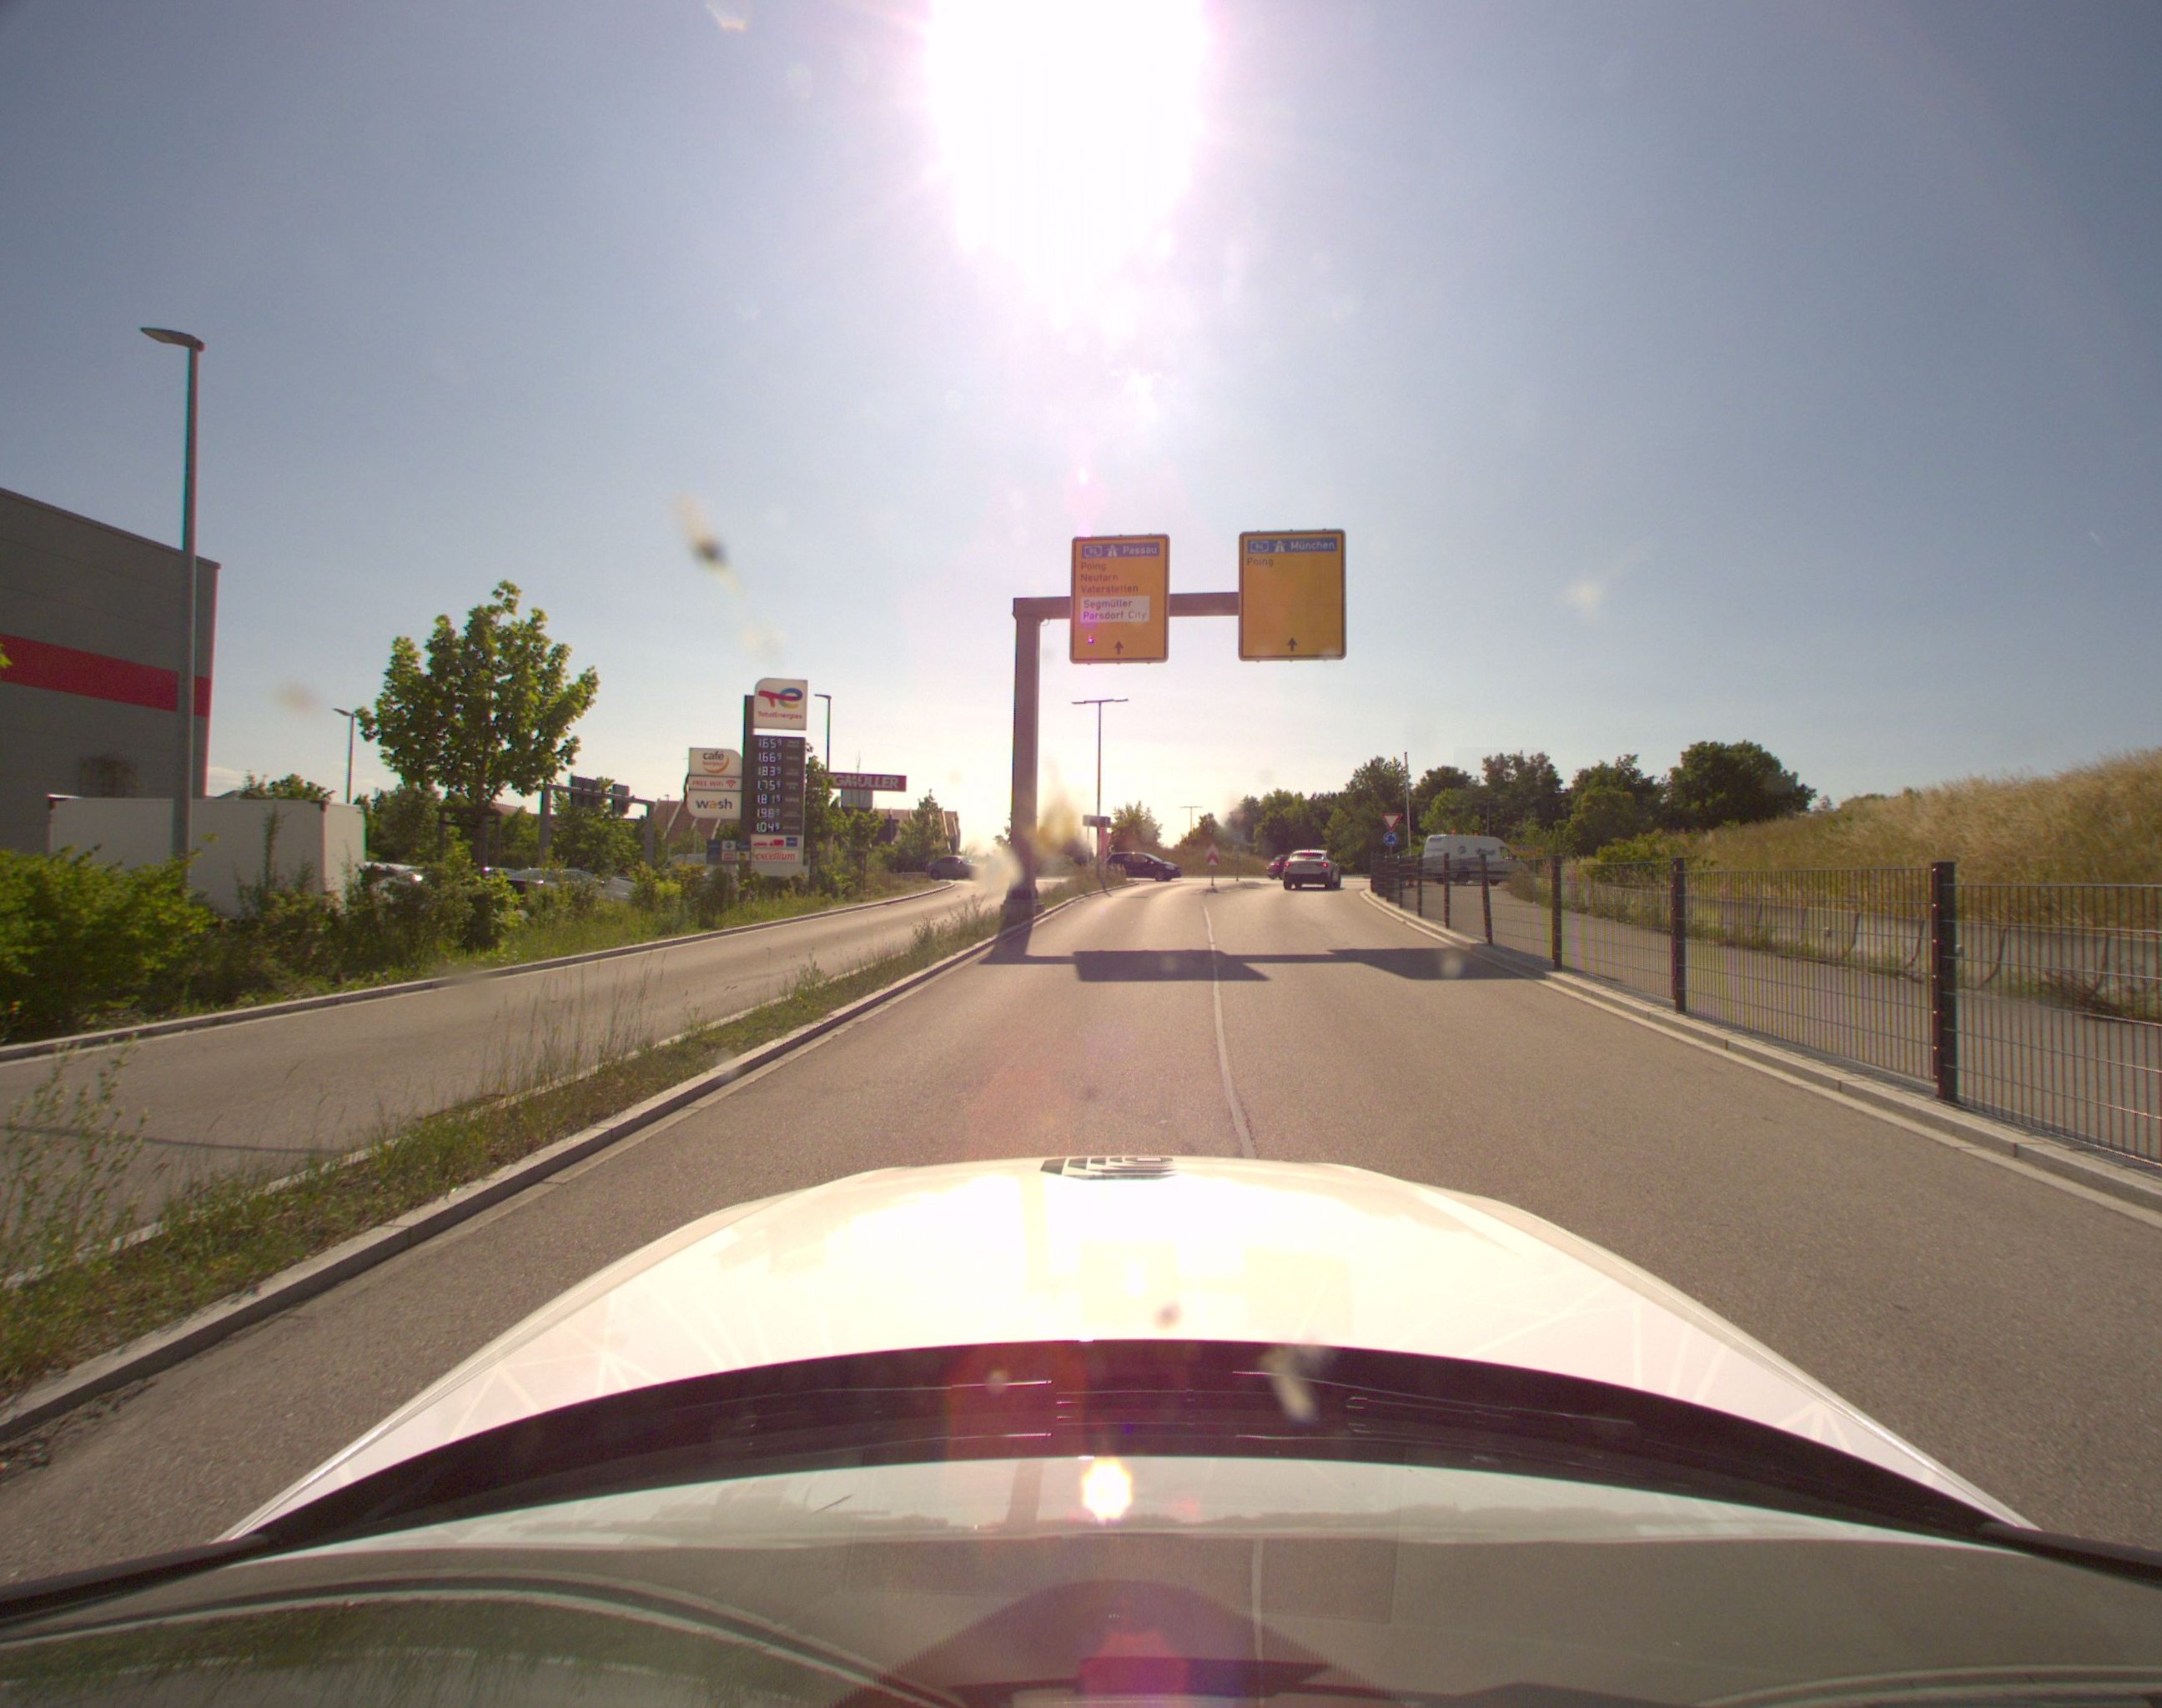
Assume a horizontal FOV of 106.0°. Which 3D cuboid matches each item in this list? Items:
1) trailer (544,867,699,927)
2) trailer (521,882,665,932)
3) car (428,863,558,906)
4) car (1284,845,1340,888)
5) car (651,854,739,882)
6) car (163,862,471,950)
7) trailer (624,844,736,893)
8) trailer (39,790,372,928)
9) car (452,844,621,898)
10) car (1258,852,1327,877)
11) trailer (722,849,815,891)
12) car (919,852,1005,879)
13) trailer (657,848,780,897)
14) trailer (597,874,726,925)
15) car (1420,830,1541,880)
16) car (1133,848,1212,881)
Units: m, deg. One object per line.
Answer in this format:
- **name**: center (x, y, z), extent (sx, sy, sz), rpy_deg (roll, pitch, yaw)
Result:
- **trailer**: center (-11.887, 1.103, 21.259), extent (3.185, 1.483, 1.541), rpy_deg (1, -1, -14)
- **trailer**: center (-11.633, 1.240, 19.579), extent (2.779, 1.086, 1.310), rpy_deg (1, -1, -24)
- **car**: center (-21.743, 1.080, 30.342), extent (1.812, 1.464, 4.002), rpy_deg (-1, -1, 3)
- **car**: center (9.358, 0.488, 32.795), extent (1.825, 1.596, 4.347), rpy_deg (0, -1, 21)
- **car**: center (-32.275, 1.179, 68.170), extent (6.240, 2.234, 2.037), rpy_deg (1, -1, -4)
- **car**: center (-14.670, 0.965, 15.957), extent (4.003, 1.536, 1.706), rpy_deg (1, -1, -23)
- **trailer**: center (-15.300, 0.570, 31.149), extent (3.705, 1.772, 1.791), rpy_deg (1, -1, -28)
- **trailer**: center (-14.087, 0.107, 13.386), extent (3.244, 2.014, 1.734), rpy_deg (1, -1, -25)
- **car**: center (-16.732, 0.490, 25.339), extent (1.788, 1.483, 4.507), rpy_deg (1, 0, 8)
- **car**: center (12.809, 0.627, 49.251), extent (3.819, 1.405, 1.615), rpy_deg (1, -1, -21)
- **trailer**: center (-13.931, 0.678, 36.285), extent (3.705, 1.772, 1.791), rpy_deg (-1, 0, -28)
- **car**: center (-6.964, 0.639, 47.463), extent (4.811, 1.452, 2.012), rpy_deg (1, -1, 33)
- **trailer**: center (-12.504, 0.648, 28.122), extent (3.705, 1.452, 1.693), rpy_deg (4, -2, -28)
- **trailer**: center (-11.775, 1.269, 23.024), extent (2.902, 1.322, 1.385), rpy_deg (1, -1, -9)
- **car**: center (21.807, 0.106, 44.453), extent (6.187, 2.554, 2.078), rpy_deg (1, -1, -17)
- **car**: center (4.818, 0.526, 42.643), extent (3.921, 1.618, 1.825), rpy_deg (1, -1, 13)
